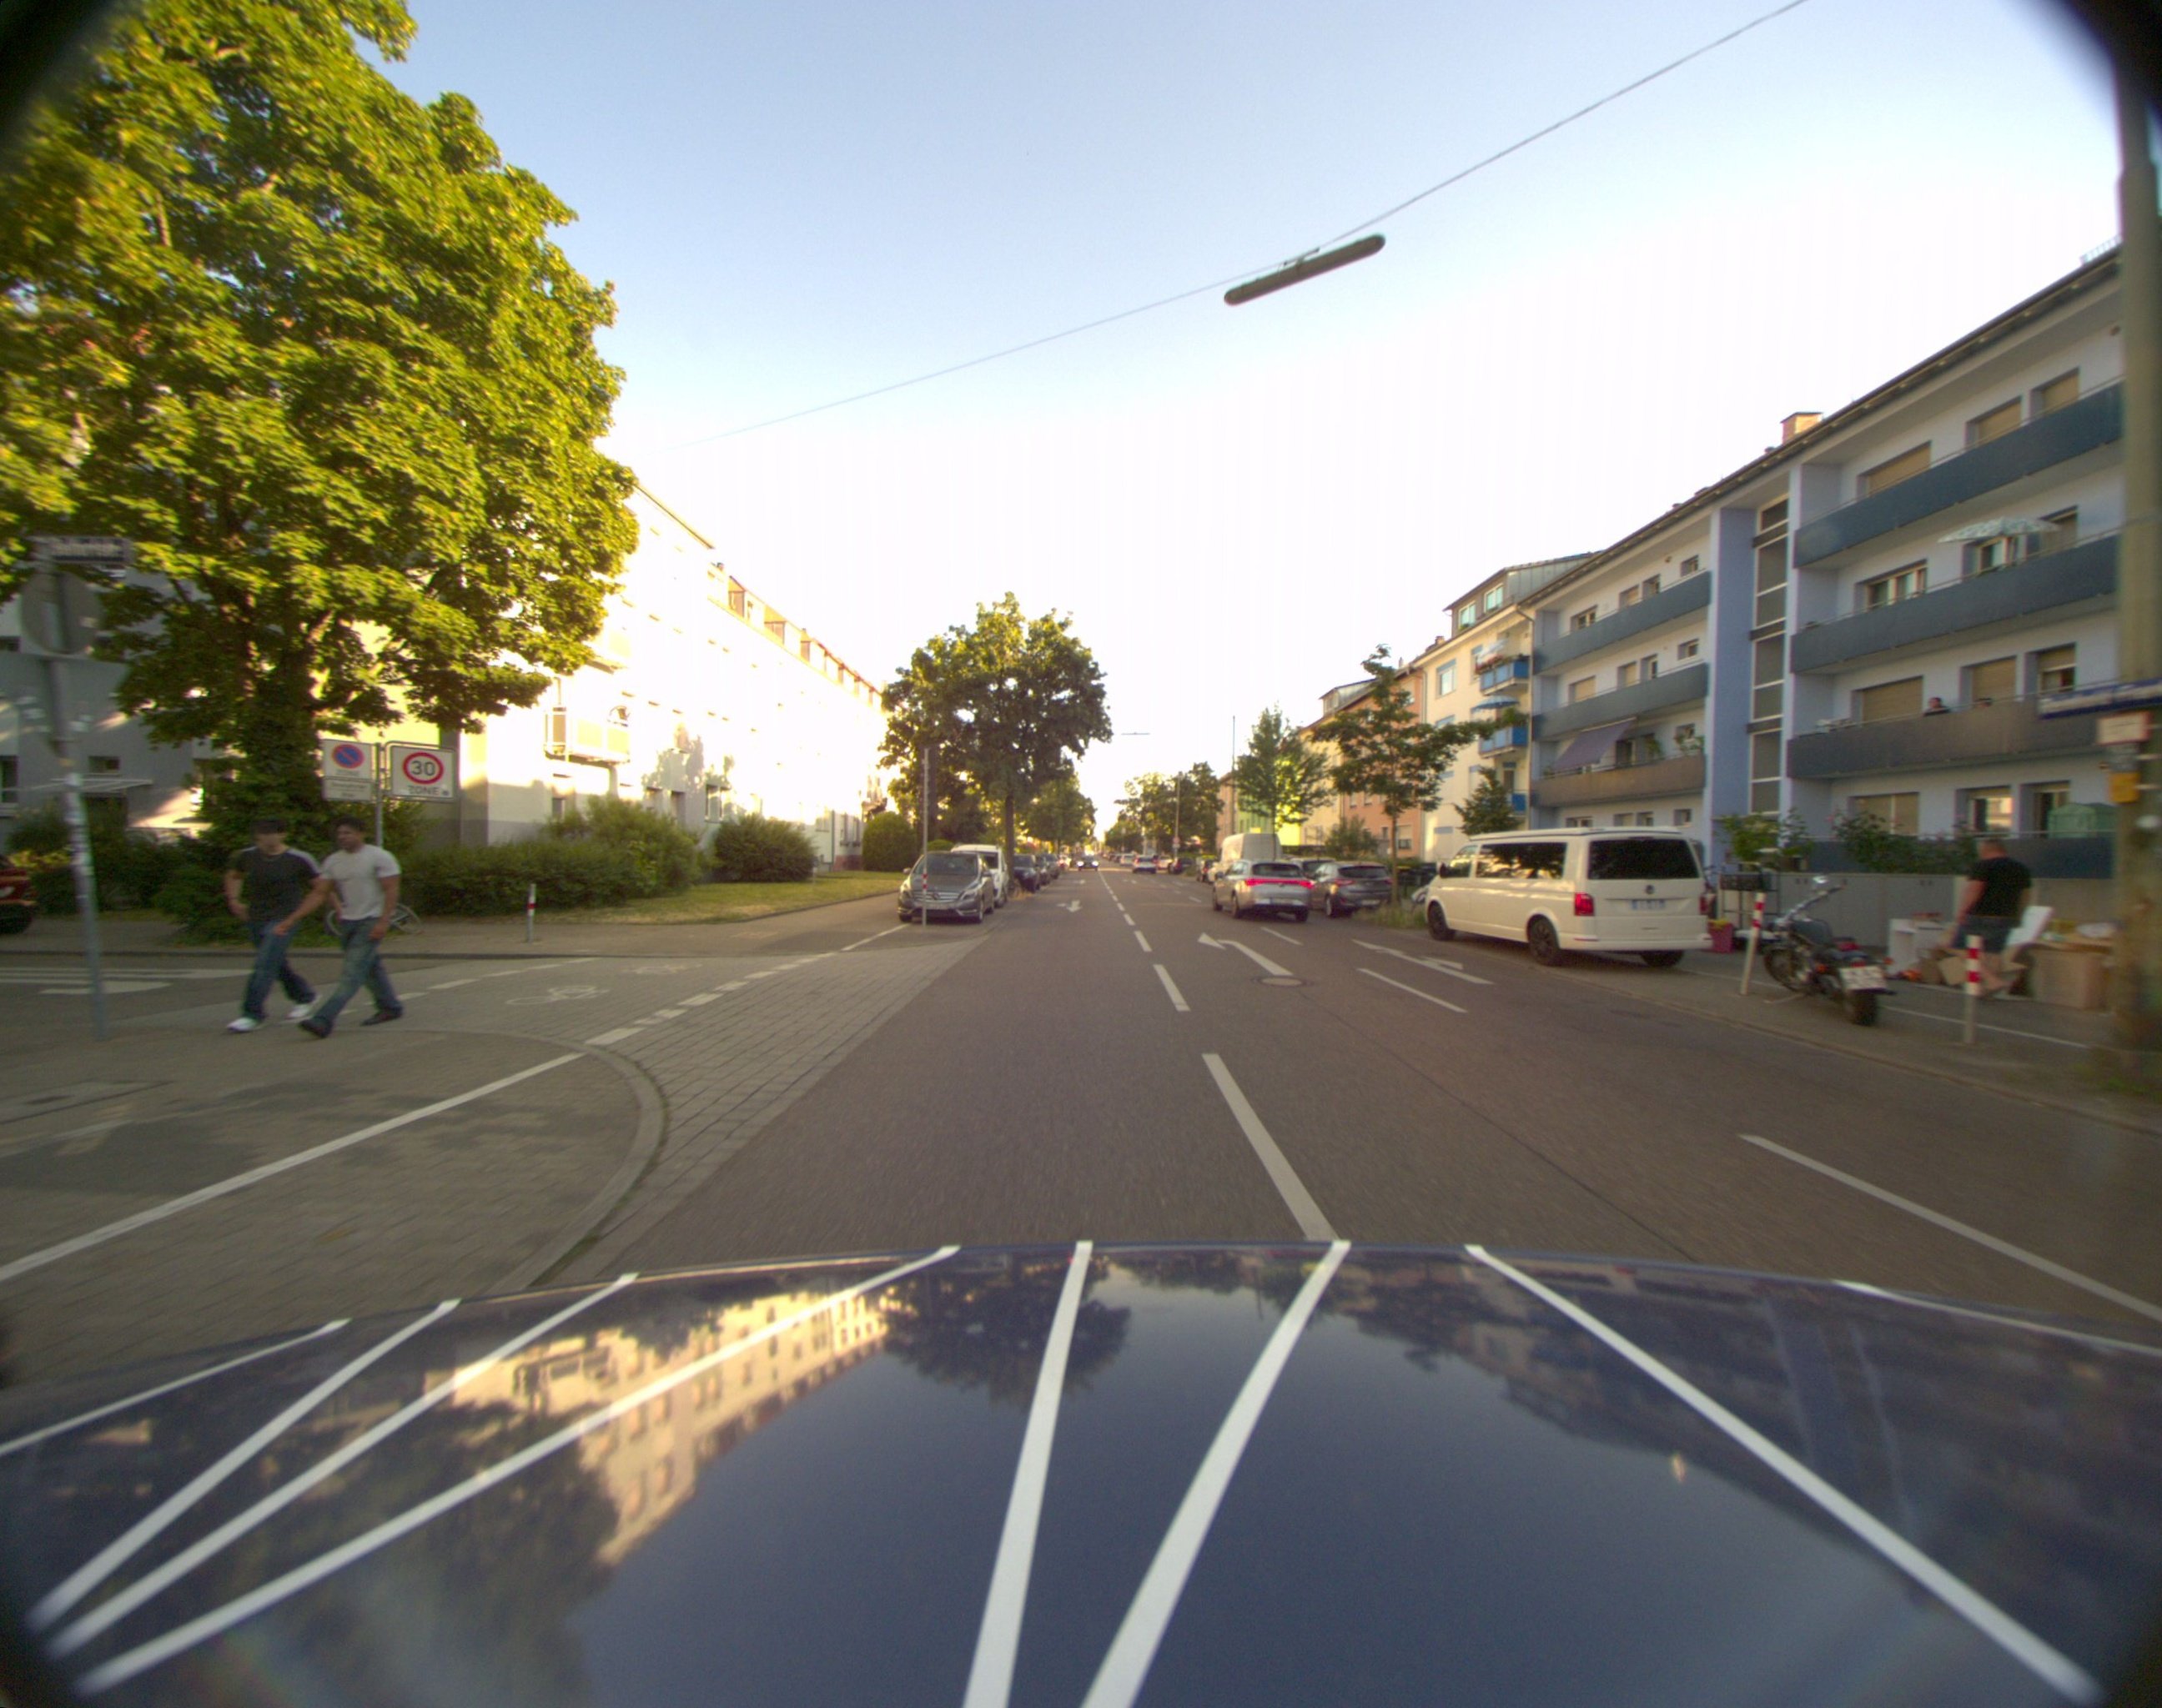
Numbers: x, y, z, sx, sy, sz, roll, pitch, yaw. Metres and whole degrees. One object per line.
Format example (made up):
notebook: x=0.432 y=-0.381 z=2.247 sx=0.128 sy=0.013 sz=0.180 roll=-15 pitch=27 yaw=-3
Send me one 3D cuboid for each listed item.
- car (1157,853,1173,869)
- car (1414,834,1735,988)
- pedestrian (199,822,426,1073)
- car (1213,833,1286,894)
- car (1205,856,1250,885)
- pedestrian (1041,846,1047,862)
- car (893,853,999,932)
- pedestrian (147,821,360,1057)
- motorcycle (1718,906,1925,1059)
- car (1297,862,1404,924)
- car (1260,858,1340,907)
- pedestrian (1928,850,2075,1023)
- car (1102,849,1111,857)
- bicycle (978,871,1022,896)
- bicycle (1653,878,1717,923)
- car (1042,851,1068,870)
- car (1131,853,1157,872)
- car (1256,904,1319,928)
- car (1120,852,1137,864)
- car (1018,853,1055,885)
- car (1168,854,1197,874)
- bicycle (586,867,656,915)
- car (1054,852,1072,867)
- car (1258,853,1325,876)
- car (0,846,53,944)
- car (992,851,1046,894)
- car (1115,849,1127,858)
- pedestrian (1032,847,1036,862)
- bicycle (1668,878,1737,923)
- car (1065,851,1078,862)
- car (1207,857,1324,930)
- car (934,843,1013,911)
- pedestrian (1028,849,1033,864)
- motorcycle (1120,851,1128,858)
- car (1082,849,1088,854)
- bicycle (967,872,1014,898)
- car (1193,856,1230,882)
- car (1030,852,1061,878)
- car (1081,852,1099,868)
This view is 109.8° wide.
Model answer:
car: x=8.668 y=0.746 z=78.751 sx=1.502 sy=1.607 sz=2.862 roll=0 pitch=1 yaw=4
car: x=7.600 y=0.734 z=12.573 sx=1.873 sy=2.019 sz=5.300 roll=0 pitch=0 yaw=0
pedestrian: x=-6.172 y=0.693 z=6.178 sx=0.750 sy=1.850 sz=1.068 roll=1 pitch=1 yaw=0
car: x=7.803 y=0.394 z=35.964 sx=1.998 sy=2.601 sz=7.105 roll=0 pitch=0 yaw=1
car: x=8.082 y=0.889 z=42.241 sx=1.711 sy=1.483 sz=4.058 roll=-2 pitch=0 yaw=1
pedestrian: x=-4.170 y=0.018 z=86.571 sx=0.549 sy=1.839 sz=0.765 roll=1 pitch=1 yaw=8
car: x=-2.991 y=0.794 z=17.672 sx=1.759 sy=1.548 sz=4.251 roll=2 pitch=0 yaw=-1
pedestrian: x=-7.075 y=0.670 z=6.542 sx=0.800 sy=1.850 sz=0.951 roll=2 pitch=1 yaw=12
motorcycle: x=7.499 y=1.209 z=7.862 sx=0.659 sy=1.197 sz=2.336 roll=2 pitch=0 yaw=22
car: x=7.365 y=0.996 z=21.175 sx=1.696 sy=1.475 sz=4.144 roll=1 pitch=0 yaw=3
car: x=7.605 y=0.936 z=26.776 sx=1.676 sy=1.534 sz=4.473 roll=1 pitch=0 yaw=2
pedestrian: x=9.761 y=0.839 z=8.088 sx=0.663 sy=1.760 sz=0.695 roll=1 pitch=1 yaw=0
car: x=6.260 y=-0.219 z=185.759 sx=1.998 sy=1.934 sz=4.777 roll=3 pitch=0 yaw=1
bicycle: x=-2.921 y=1.052 z=27.450 sx=1.556 sy=0.864 sz=0.393 roll=1 pitch=1 yaw=-2
bicycle: x=15.038 y=1.142 z=18.968 sx=0.439 sy=1.009 sz=1.477 roll=2 pitch=0 yaw=2
car: x=-2.211 y=0.554 z=66.861 sx=1.879 sy=1.572 sz=4.821 roll=2 pitch=0 yaw=2
car: x=5.291 y=0.700 z=63.893 sx=1.785 sy=1.486 sz=3.970 roll=1 pitch=1 yaw=-1
car: x=14.519 y=4.346 z=53.607 sx=3.997 sy=1.520 sz=1.629 roll=0 pitch=1 yaw=1
car: x=6.222 y=0.470 z=100.806 sx=1.884 sy=1.534 sz=4.266 roll=1 pitch=0 yaw=-1
car: x=-2.227 y=0.733 z=39.109 sx=1.617 sy=1.457 sz=3.958 roll=2 pitch=0 yaw=0
car: x=8.164 y=0.806 z=61.670 sx=1.783 sy=1.496 sz=4.588 roll=0 pitch=0 yaw=1
bicycle: x=-9.846 y=0.763 z=16.334 sx=0.476 sy=0.939 sz=1.680 roll=1 pitch=0 yaw=0
car: x=-1.867 y=0.558 z=79.074 sx=1.641 sy=1.482 sz=4.415 roll=2 pitch=0 yaw=0
car: x=14.224 y=0.685 z=51.480 sx=3.997 sy=1.405 sz=1.916 roll=-1 pitch=0 yaw=1
car: x=-19.328 y=0.687 z=11.823 sx=4.249 sy=1.548 sz=1.760 roll=-1 pitch=0 yaw=0
car: x=-2.508 y=0.707 z=31.661 sx=1.758 sy=1.653 sz=4.252 roll=0 pitch=0 yaw=2
car: x=6.858 y=-0.125 z=130.070 sx=1.703 sy=1.462 sz=4.295 roll=2 pitch=0 yaw=5
pedestrian: x=-5.343 y=0.105 z=86.279 sx=0.512 sy=1.687 sz=0.527 roll=0 pitch=1 yaw=-4
bicycle: x=15.499 y=1.145 z=18.983 sx=0.439 sy=1.009 sz=1.574 roll=2 pitch=0 yaw=2
car: x=-1.337 y=0.332 z=106.756 sx=1.796 sy=1.622 sz=4.029 roll=1 pitch=0 yaw=0
car: x=4.470 y=0.893 z=19.090 sx=1.744 sy=1.470 sz=4.309 roll=4 pitch=0 yaw=-1
car: x=-3.088 y=0.601 z=22.681 sx=1.805 sy=1.797 sz=4.423 roll=-1 pitch=0 yaw=-1
pedestrian: x=-5.834 y=0.245 z=87.437 sx=0.512 sy=1.687 sz=0.527 roll=0 pitch=1 yaw=-4
motorcycle: x=10.119 y=0.058 z=179.120 sx=1.263 sy=1.526 sz=2.887 roll=0 pitch=1 yaw=-13
car: x=1.299 y=-0.821 z=233.640 sx=1.744 sy=1.509 sz=3.811 roll=1 pitch=1 yaw=3
bicycle: x=-3.088 y=1.058 z=25.857 sx=1.557 sy=0.864 sz=0.393 roll=1 pitch=1 yaw=-8
car: x=8.036 y=0.888 z=47.151 sx=1.616 sy=1.464 sz=3.812 roll=-1 pitch=0 yaw=0
car: x=-2.216 y=0.651 z=48.681 sx=1.722 sy=1.592 sz=4.096 roll=1 pitch=0 yaw=0
car: x=0.882 y=0.538 z=74.077 sx=1.641 sy=1.482 sz=4.415 roll=2 pitch=0 yaw=0
